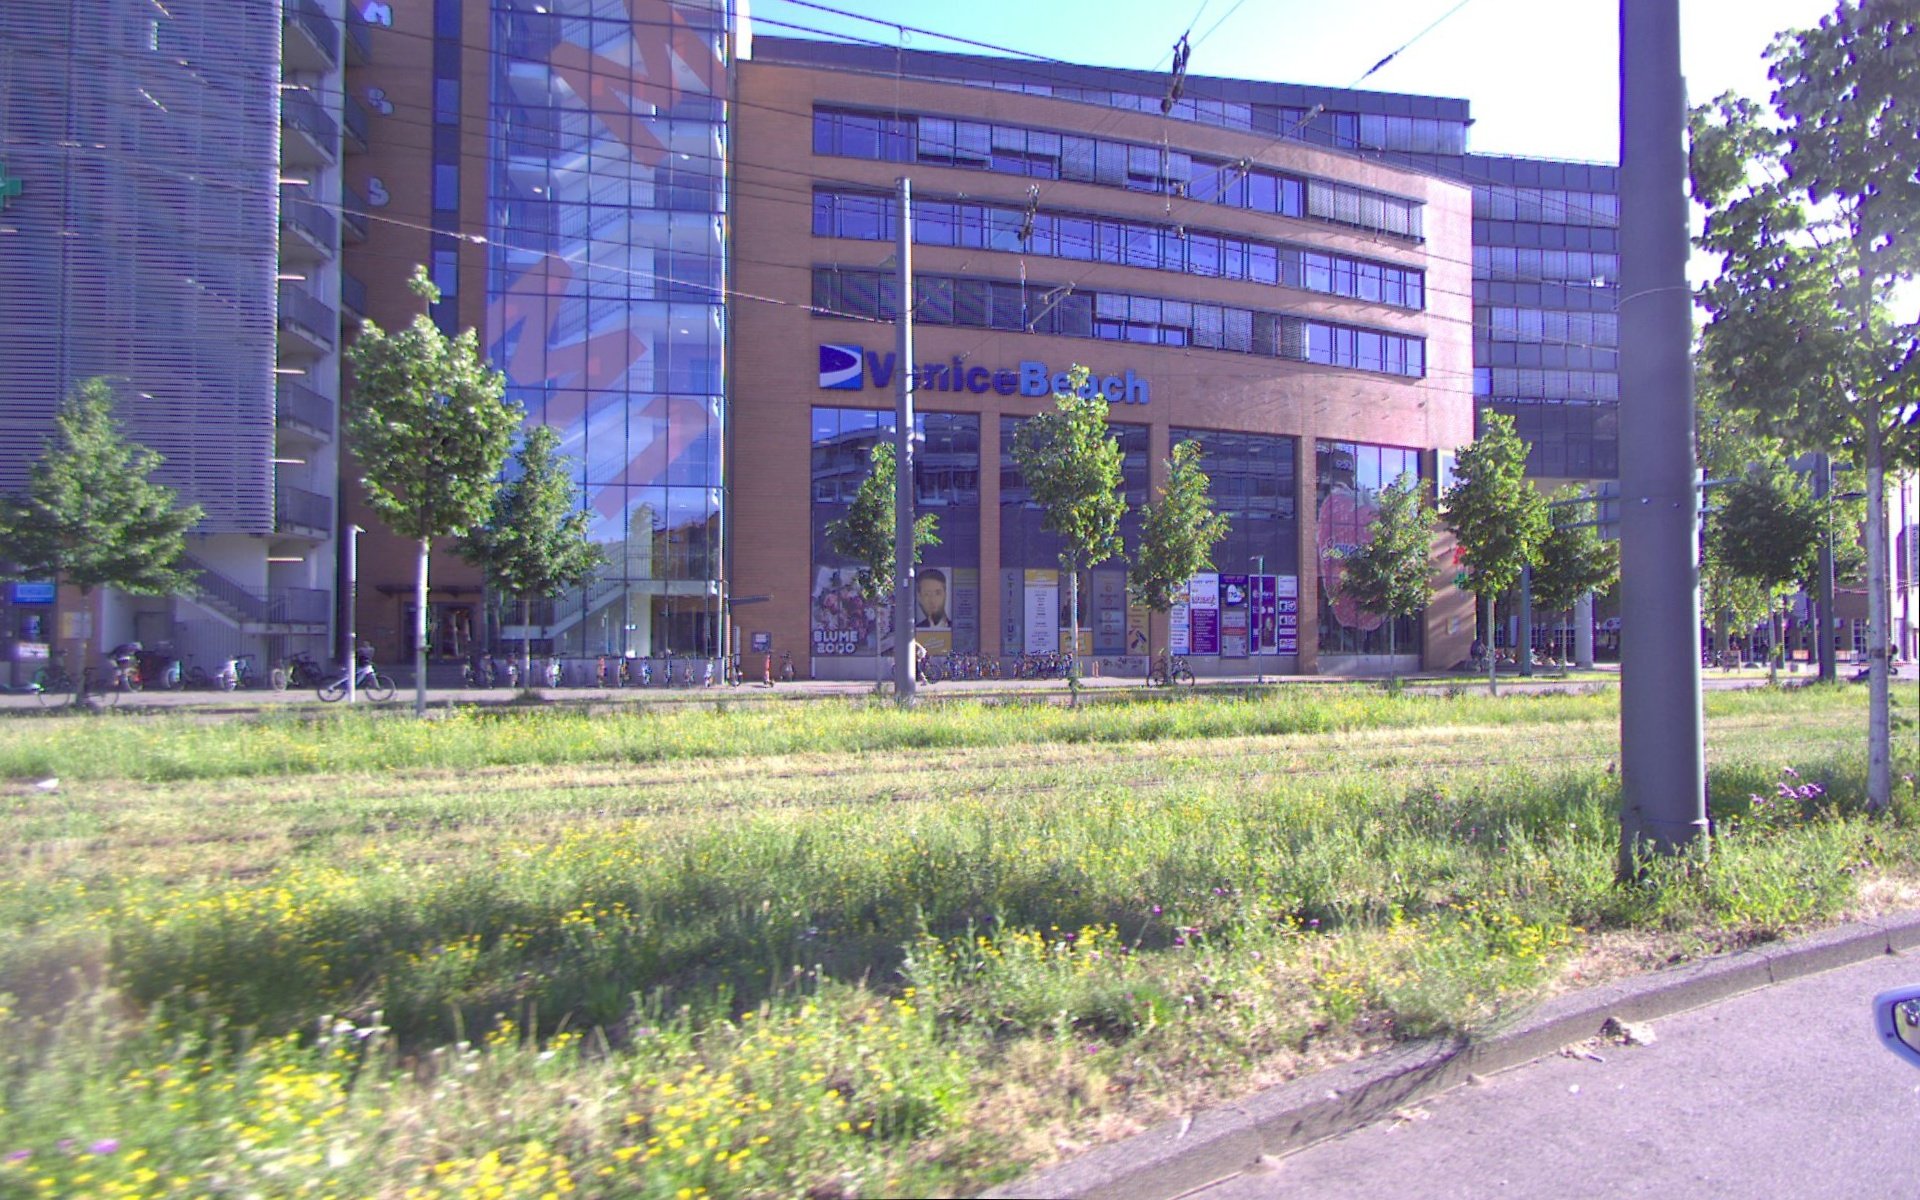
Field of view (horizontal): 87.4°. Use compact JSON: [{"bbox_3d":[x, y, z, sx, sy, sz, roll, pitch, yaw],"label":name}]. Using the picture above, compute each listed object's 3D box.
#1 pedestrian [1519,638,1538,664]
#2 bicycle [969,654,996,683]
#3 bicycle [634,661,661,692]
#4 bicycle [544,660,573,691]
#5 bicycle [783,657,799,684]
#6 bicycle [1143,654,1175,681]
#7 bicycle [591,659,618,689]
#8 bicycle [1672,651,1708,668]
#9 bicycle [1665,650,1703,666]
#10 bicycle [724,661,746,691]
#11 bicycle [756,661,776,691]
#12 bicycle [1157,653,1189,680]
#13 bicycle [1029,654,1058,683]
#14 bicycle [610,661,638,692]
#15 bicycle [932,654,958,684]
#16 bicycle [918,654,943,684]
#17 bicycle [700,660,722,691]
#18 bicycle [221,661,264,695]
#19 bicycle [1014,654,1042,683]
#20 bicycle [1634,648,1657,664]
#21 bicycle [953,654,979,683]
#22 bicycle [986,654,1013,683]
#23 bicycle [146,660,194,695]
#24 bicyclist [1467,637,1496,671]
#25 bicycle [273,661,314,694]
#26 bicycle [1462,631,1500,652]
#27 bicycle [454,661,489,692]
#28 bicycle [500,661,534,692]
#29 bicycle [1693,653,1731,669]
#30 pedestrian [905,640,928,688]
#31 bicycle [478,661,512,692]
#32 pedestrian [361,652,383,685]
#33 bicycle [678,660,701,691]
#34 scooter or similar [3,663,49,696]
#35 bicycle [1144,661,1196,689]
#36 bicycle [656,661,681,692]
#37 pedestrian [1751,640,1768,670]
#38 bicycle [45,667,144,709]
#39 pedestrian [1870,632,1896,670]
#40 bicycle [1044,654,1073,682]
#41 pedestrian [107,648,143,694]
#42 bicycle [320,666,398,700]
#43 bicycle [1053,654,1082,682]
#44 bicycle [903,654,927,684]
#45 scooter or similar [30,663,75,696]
[{"bbox_3d":[37.624,3.357,66.450,0.825,1.667,0.732,1,-2,-21],"label":"pedestrian"},{"bbox_3d":[0.846,2.597,38.241,0.483,1.063,1.765,1,-2,-17],"label":"bicycle"},{"bbox_3d":[-10.240,2.493,32.946,0.554,0.938,1.769,0,-2,-9],"label":"bicycle"},{"bbox_3d":[-12.940,2.414,32.391,0.481,0.938,1.769,0,-2,-9],"label":"bicycle"},{"bbox_3d":[-6.263,2.604,37.175,0.554,0.938,1.769,0,-2,-9],"label":"bicycle"},{"bbox_3d":[8.118,2.738,41.007,0.483,1.063,1.765,1,-2,-17],"label":"bicycle"},{"bbox_3d":[-11.574,2.399,32.735,0.481,0.938,1.769,0,-2,-9],"label":"bicycle"},{"bbox_3d":[43.760,3.544,60.213,1.744,0.964,0.539,-2,-3,39],"label":"bicycle"},{"bbox_3d":[42.968,3.432,59.648,0.537,0.964,1.751,2,-3,-39],"label":"bicycle"},{"bbox_3d":[-7.475,2.505,33.412,0.554,0.938,1.769,0,-2,-9],"label":"bicycle"},{"bbox_3d":[-6.482,2.520,33.601,0.554,0.938,1.769,0,-2,-9],"label":"bicycle"},{"bbox_3d":[8.722,2.718,41.262,0.483,1.063,1.765,1,-2,-17],"label":"bicycle"},{"bbox_3d":[3.234,2.642,39.056,0.483,1.063,1.765,1,-2,-17],"label":"bicycle"},{"bbox_3d":[-10.952,2.482,32.797,0.554,0.938,1.769,0,-2,-9],"label":"bicycle"},{"bbox_3d":[-0.571,2.570,37.720,0.483,1.063,1.765,1,-2,-17],"label":"bicycle"},{"bbox_3d":[-1.100,2.560,37.553,0.483,1.063,1.765,1,-2,-17],"label":"bicycle"},{"bbox_3d":[-8.254,2.494,33.316,0.554,0.938,1.769,0,-2,-9],"label":"bicycle"},{"bbox_3d":[-21.464,2.322,30.065,0.453,0.938,1.399,0,-2,-9],"label":"bicycle"},{"bbox_3d":[2.630,2.631,38.900,0.483,1.063,1.765,1,-2,-17],"label":"bicycle"},{"bbox_3d":[41.997,3.428,61.557,0.530,0.964,1.773,0,-2,11],"label":"bicycle"},{"bbox_3d":[0.213,2.585,38.006,0.483,1.063,1.765,1,-2,-17],"label":"bicycle"},{"bbox_3d":[1.506,2.609,38.431,0.483,1.063,1.765,1,-2,-17],"label":"bicycle"},{"bbox_3d":[-22.697,2.223,28.880,0.453,0.938,1.399,0,-2,-9],"label":"bicycle"},{"bbox_3d":[23.168,2.374,44.605,1.004,1.484,0.675,1,-2,-28],"label":"bicyclist"},{"bbox_3d":[-20.151,2.335,30.396,0.453,0.938,1.399,0,-2,-9],"label":"bicycle"},{"bbox_3d":[23.148,1.837,44.617,1.865,0.922,0.496,1,-2,-28],"label":"bicycle"},{"bbox_3d":[-15.477,2.410,31.875,0.481,0.938,1.769,0,-2,-9],"label":"bicycle"},{"bbox_3d":[-14.149,2.431,32.110,0.554,0.938,1.769,0,-2,-9],"label":"bicycle"},{"bbox_3d":[45.616,3.688,60.966,0.535,0.964,1.756,1,-2,-31],"label":"bicycle"},{"bbox_3d":[-1.555,2.257,35.734,0.665,1.690,0.744,1,-2,-19],"label":"pedestrian"},{"bbox_3d":[-14.813,2.421,32.010,0.481,0.938,1.769,0,-2,-9],"label":"bicycle"},{"bbox_3d":[-19.816,2.298,33.859,0.441,1.068,0.628,0,-2,-13],"label":"pedestrian"},{"bbox_3d":[-8.924,2.483,33.187,0.554,0.938,1.769,0,-2,-9],"label":"bicycle"},{"bbox_3d":[-26.697,2.258,28.721,0.286,0.905,0.899,-1,-2,31],"label":"scooter or similar"},{"bbox_3d":[6.957,2.467,33.271,1.747,0.880,0.461,1,-2,-26],"label":"bicycle"},{"bbox_3d":[-9.592,2.503,33.072,0.554,0.938,1.769,0,-2,-9],"label":"bicycle"},{"bbox_3d":[55.128,3.797,69.239,0.668,2.040,0.664,1,-2,-24],"label":"pedestrian"},{"bbox_3d":[-20.205,2.049,23.473,1.741,0.935,0.385,1,-2,-13],"label":"bicycle"},{"bbox_3d":[50.334,2.766,54.786,0.825,2.040,0.731,1,-1,-21],"label":"pedestrian"},{"bbox_3d":[3.834,2.653,39.288,0.483,1.063,1.765,1,-2,-17],"label":"bicycle"},{"bbox_3d":[-24.162,2.047,29.068,0.619,1.306,0.448,0,-2,-13],"label":"pedestrian"},{"bbox_3d":[-16.007,2.213,26.782,1.741,0.880,0.385,1,-2,-13],"label":"bicycle"},{"bbox_3d":[4.273,2.671,39.893,0.483,1.063,1.765,1,-2,-17],"label":"bicycle"},{"bbox_3d":[-1.676,2.550,37.359,0.483,1.063,1.765,1,-2,-17],"label":"bicycle"},{"bbox_3d":[-25.770,2.260,28.537,0.285,0.905,0.900,-1,-2,28],"label":"scooter or similar"}]
